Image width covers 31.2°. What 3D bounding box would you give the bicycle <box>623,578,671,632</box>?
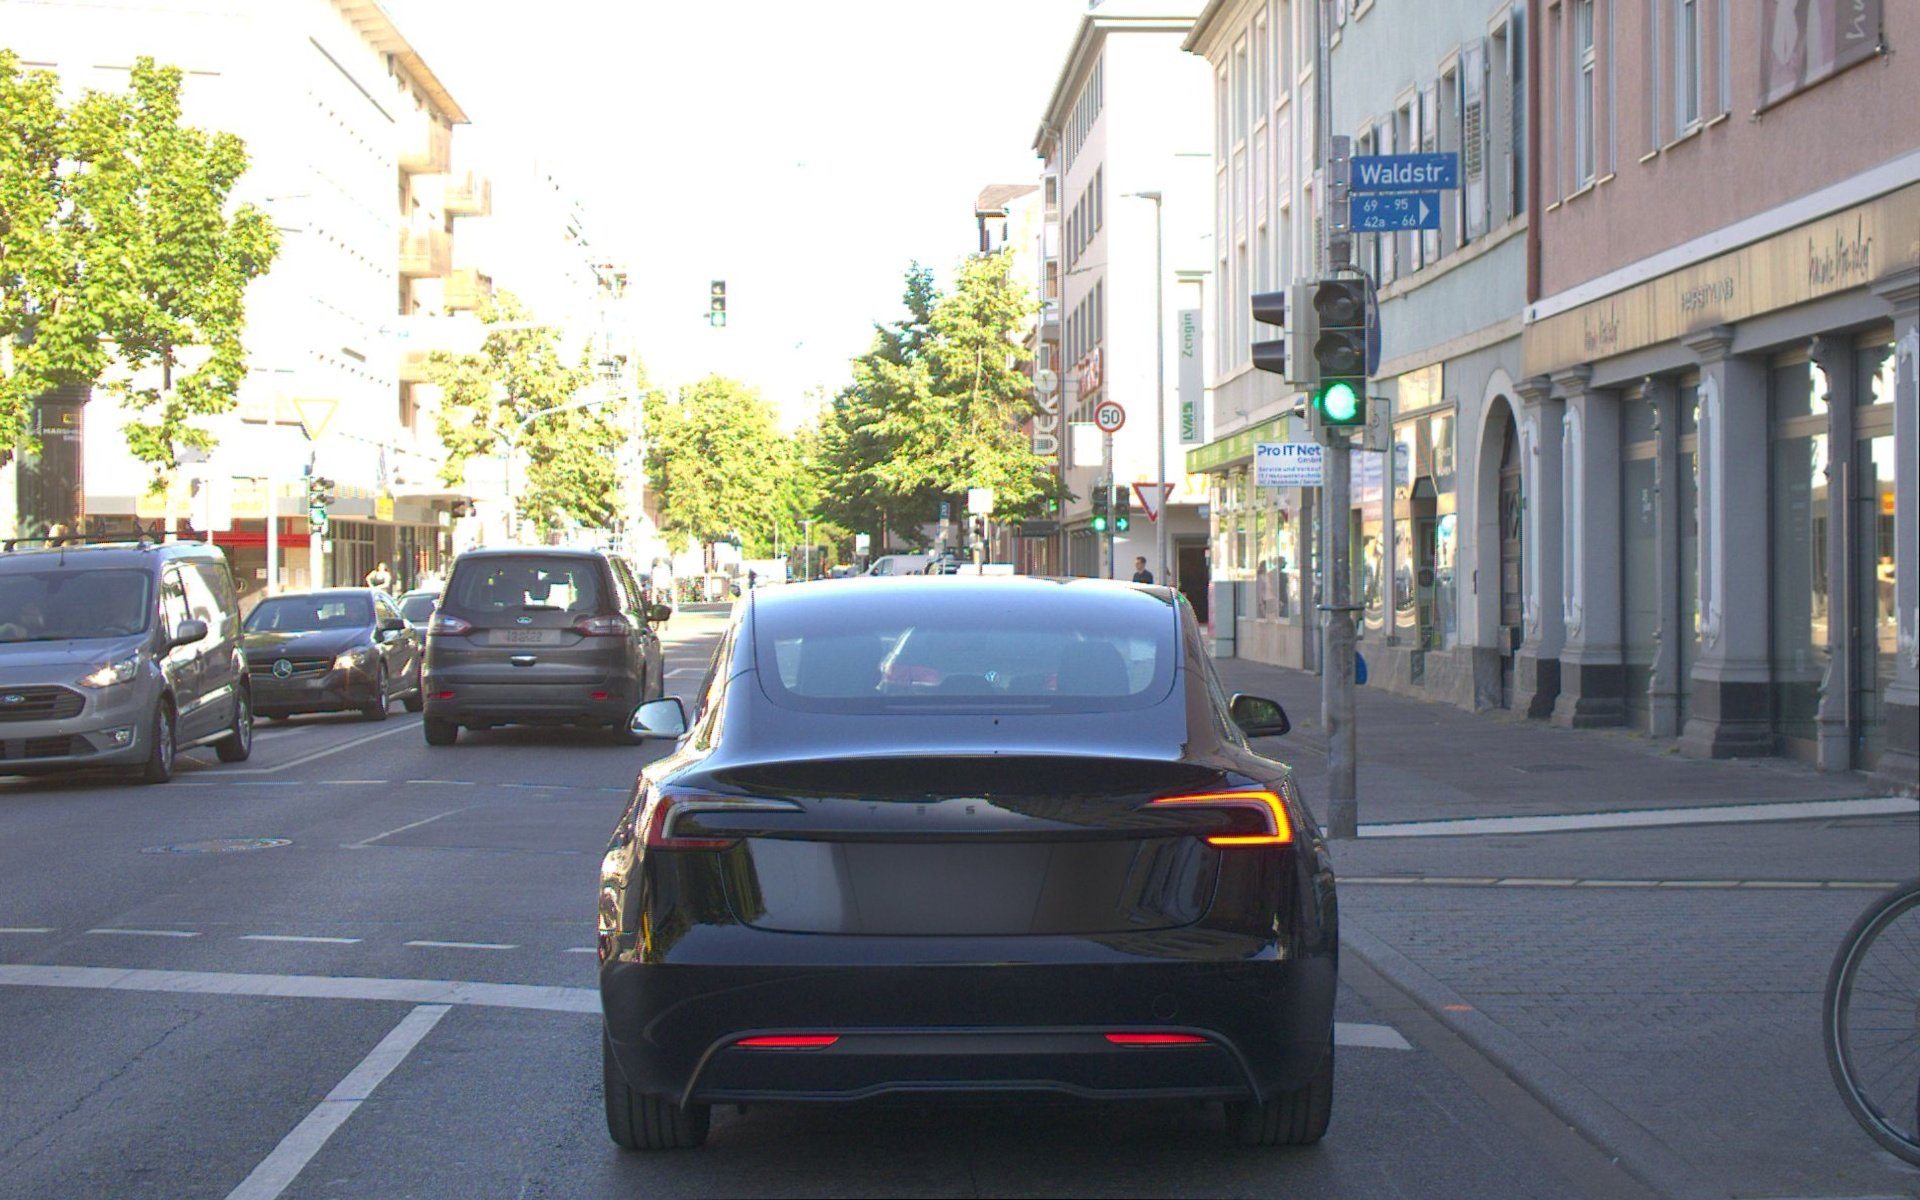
[{"bbox_3d":[-8.080,0.114,88.907,1.111,1.340,4.001,0,1,-4],"label":"bicycle"}]

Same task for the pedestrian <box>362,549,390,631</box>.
[{"bbox_3d":[-14.438,-0.247,84.946,0.574,2.007,0.828,1,0,-5],"label":"pedestrian"}]

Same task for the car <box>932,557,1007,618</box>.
[{"bbox_3d":[0.234,-0.348,94.165,1.993,1.623,4.000,0,1,-1],"label":"car"}]

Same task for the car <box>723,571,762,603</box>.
[{"bbox_3d":[-11.400,-0.692,180.444,1.993,1.631,4.001,0,1,-3],"label":"car"}]

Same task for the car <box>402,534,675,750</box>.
[{"bbox_3d":[-3.656,0.311,30.616,1.993,1.766,4.729,0,1,-2],"label":"car"}]

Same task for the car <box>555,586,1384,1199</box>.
[{"bbox_3d":[-0.006,0.696,9.677,1.848,1.450,4.000,0,0,-1],"label":"car"}]

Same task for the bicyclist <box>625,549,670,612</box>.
[{"bbox_3d":[-8.094,-0.502,88.992,1.126,1.623,0.965,0,1,-4],"label":"bicyclist"}]

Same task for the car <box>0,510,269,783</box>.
[{"bbox_3d":[-6.657,0.309,26.159,1.834,1.838,4.674,-3,1,-1],"label":"car"}]

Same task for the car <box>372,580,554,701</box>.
[{"bbox_3d":[-6.774,0.518,47.281,1.993,1.431,4.675,-3,1,-3],"label":"car"}]

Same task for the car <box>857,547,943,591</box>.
[{"bbox_3d":[-2.813,-1.472,160.951,3.986,2.007,2.000,0,1,-2],"label":"car"}]

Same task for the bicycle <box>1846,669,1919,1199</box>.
[{"bbox_3d":[2.797,0.769,7.056,1.746,1.262,0.781,-1,0,3],"label":"bicycle"}]

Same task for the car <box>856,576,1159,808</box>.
[{"bbox_3d":[0.256,0.602,25.029,1.993,1.507,4.175,0,1,-2],"label":"car"}]

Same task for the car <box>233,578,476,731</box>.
[{"bbox_3d":[-6.525,0.543,37.536,1.993,1.405,4.675,-3,1,-3],"label":"car"}]

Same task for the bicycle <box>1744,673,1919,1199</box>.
[{"bbox_3d":[2.864,0.799,8.086,1.862,1.253,0.832,-1,0,5],"label":"bicycle"}]
